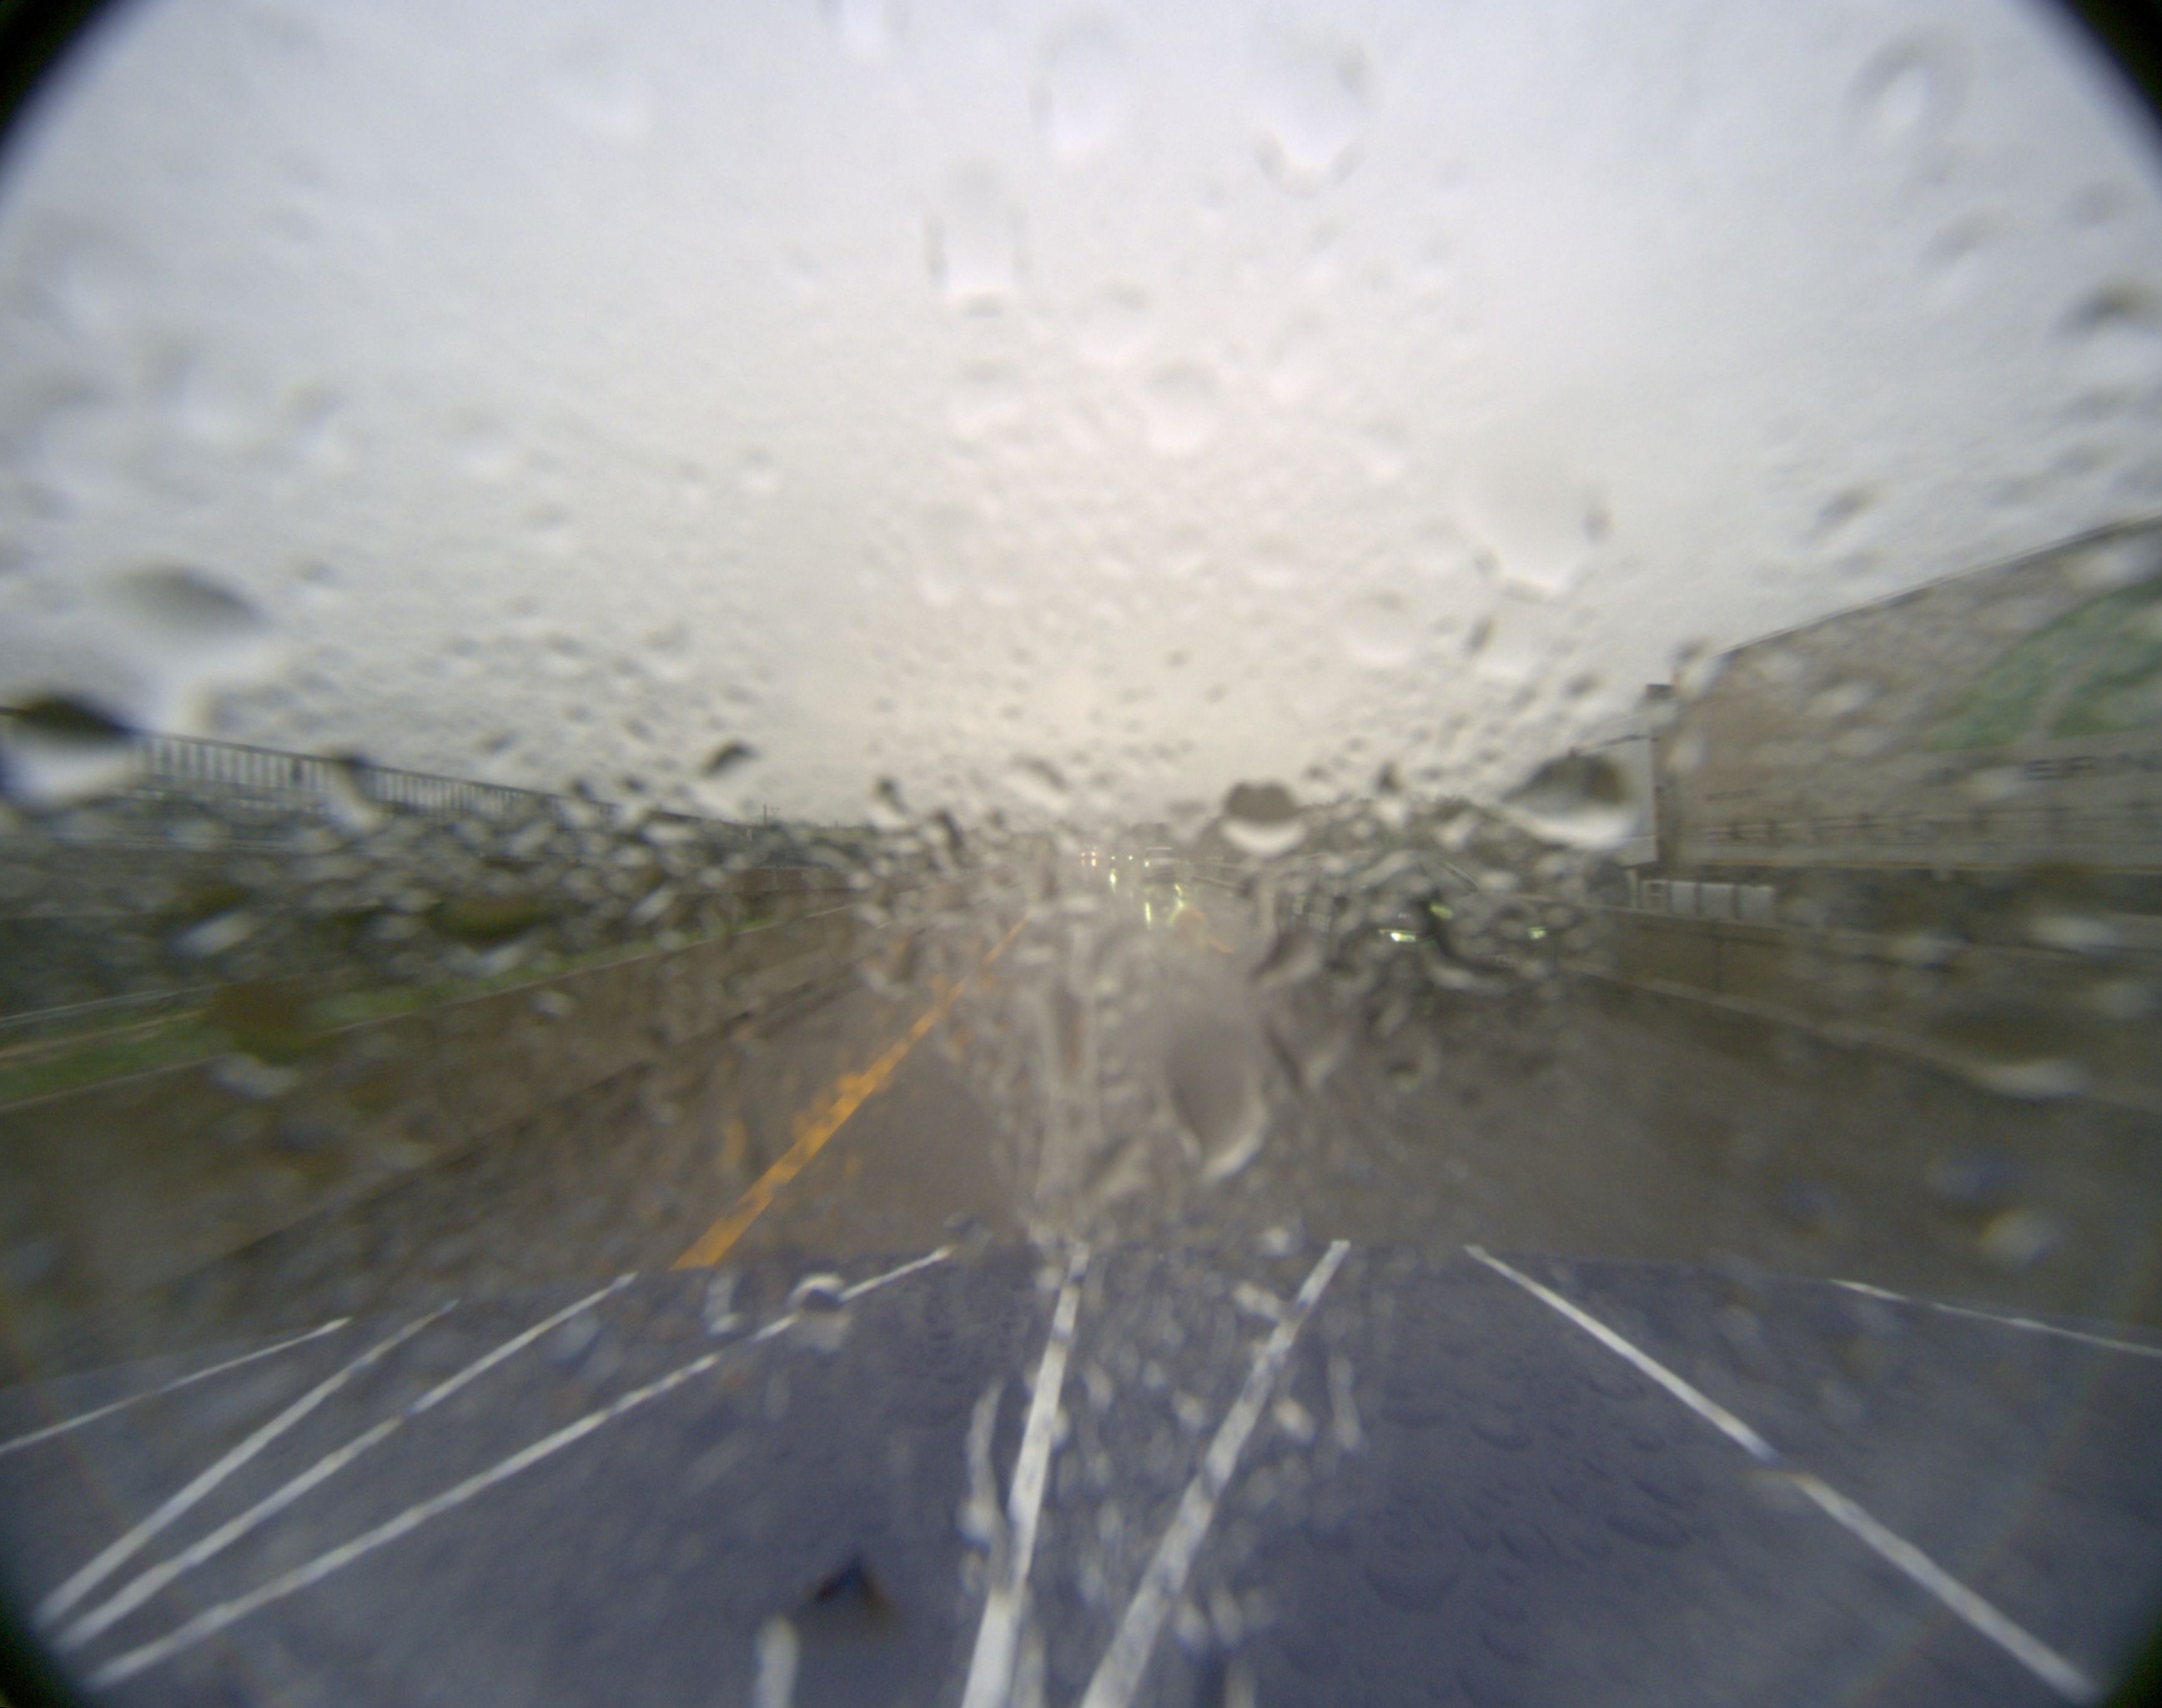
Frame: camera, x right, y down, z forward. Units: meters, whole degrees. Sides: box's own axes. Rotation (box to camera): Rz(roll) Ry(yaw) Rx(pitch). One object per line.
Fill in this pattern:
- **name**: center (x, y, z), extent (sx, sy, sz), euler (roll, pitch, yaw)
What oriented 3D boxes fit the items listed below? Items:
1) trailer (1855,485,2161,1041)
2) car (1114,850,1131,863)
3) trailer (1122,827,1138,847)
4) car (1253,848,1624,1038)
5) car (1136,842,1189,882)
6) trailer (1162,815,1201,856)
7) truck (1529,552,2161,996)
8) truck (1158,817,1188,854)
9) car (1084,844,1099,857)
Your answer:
- **trailer**: center (9.813, -0.673, 2.864), extent (2.491, 4.418, 11.192), euler (-2, 1, 1)
- **car**: center (3.513, 0.213, 64.634), extent (1.335, 1.105, 3.199), euler (1, 0, 1)
- **trailer**: center (10.766, -3.841, 168.434), extent (2.693, 4.253, 13.068), euler (-2, 1, 1)
- **car**: center (3.473, 0.713, 8.629), extent (1.944, 1.519, 4.794), euler (0, 1, 0)
- **car**: center (3.745, 0.332, 35.387), extent (1.971, 1.670, 3.999), euler (-2, 1, 0)
- **trailer**: center (10.811, -2.020, 82.801), extent (2.657, 4.086, 12.311), euler (-2, 1, 1)
- **truck**: center (9.897, -0.880, 11.208), extent (2.509, 4.437, 6.879), euler (-2, 2, 1)
- **truck**: center (10.888, -2.191, 90.582), extent (2.648, 4.104, 6.693), euler (-2, 2, 1)
- **car**: center (1.517, -0.534, 109.379), extent (1.998, 1.762, 3.999), euler (-2, 1, 0)
